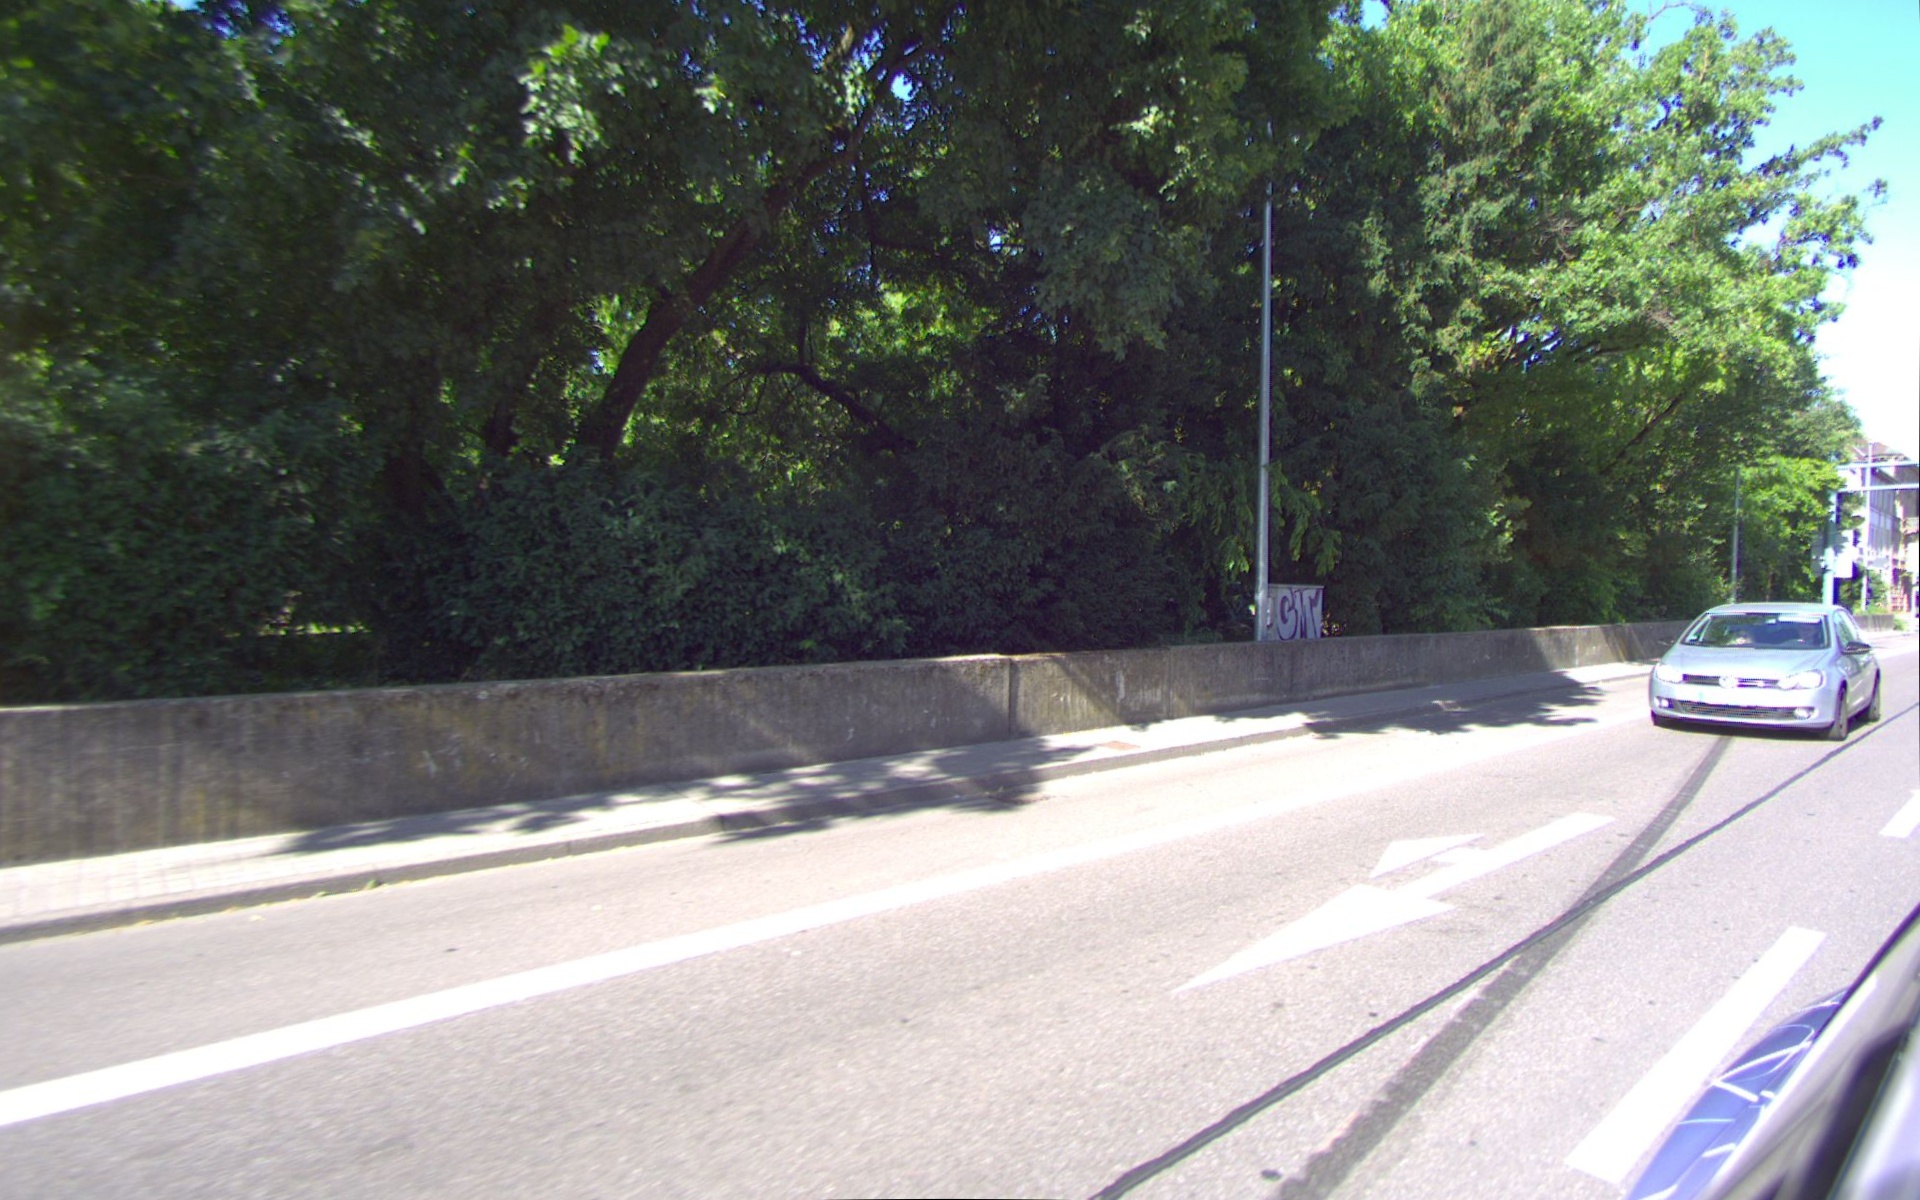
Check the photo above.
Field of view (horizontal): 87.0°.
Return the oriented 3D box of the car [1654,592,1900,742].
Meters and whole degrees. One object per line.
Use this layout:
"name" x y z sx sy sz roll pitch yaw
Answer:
"car" 9.906 0.660 12.166 3.931 1.493 1.701 0 1 -42
